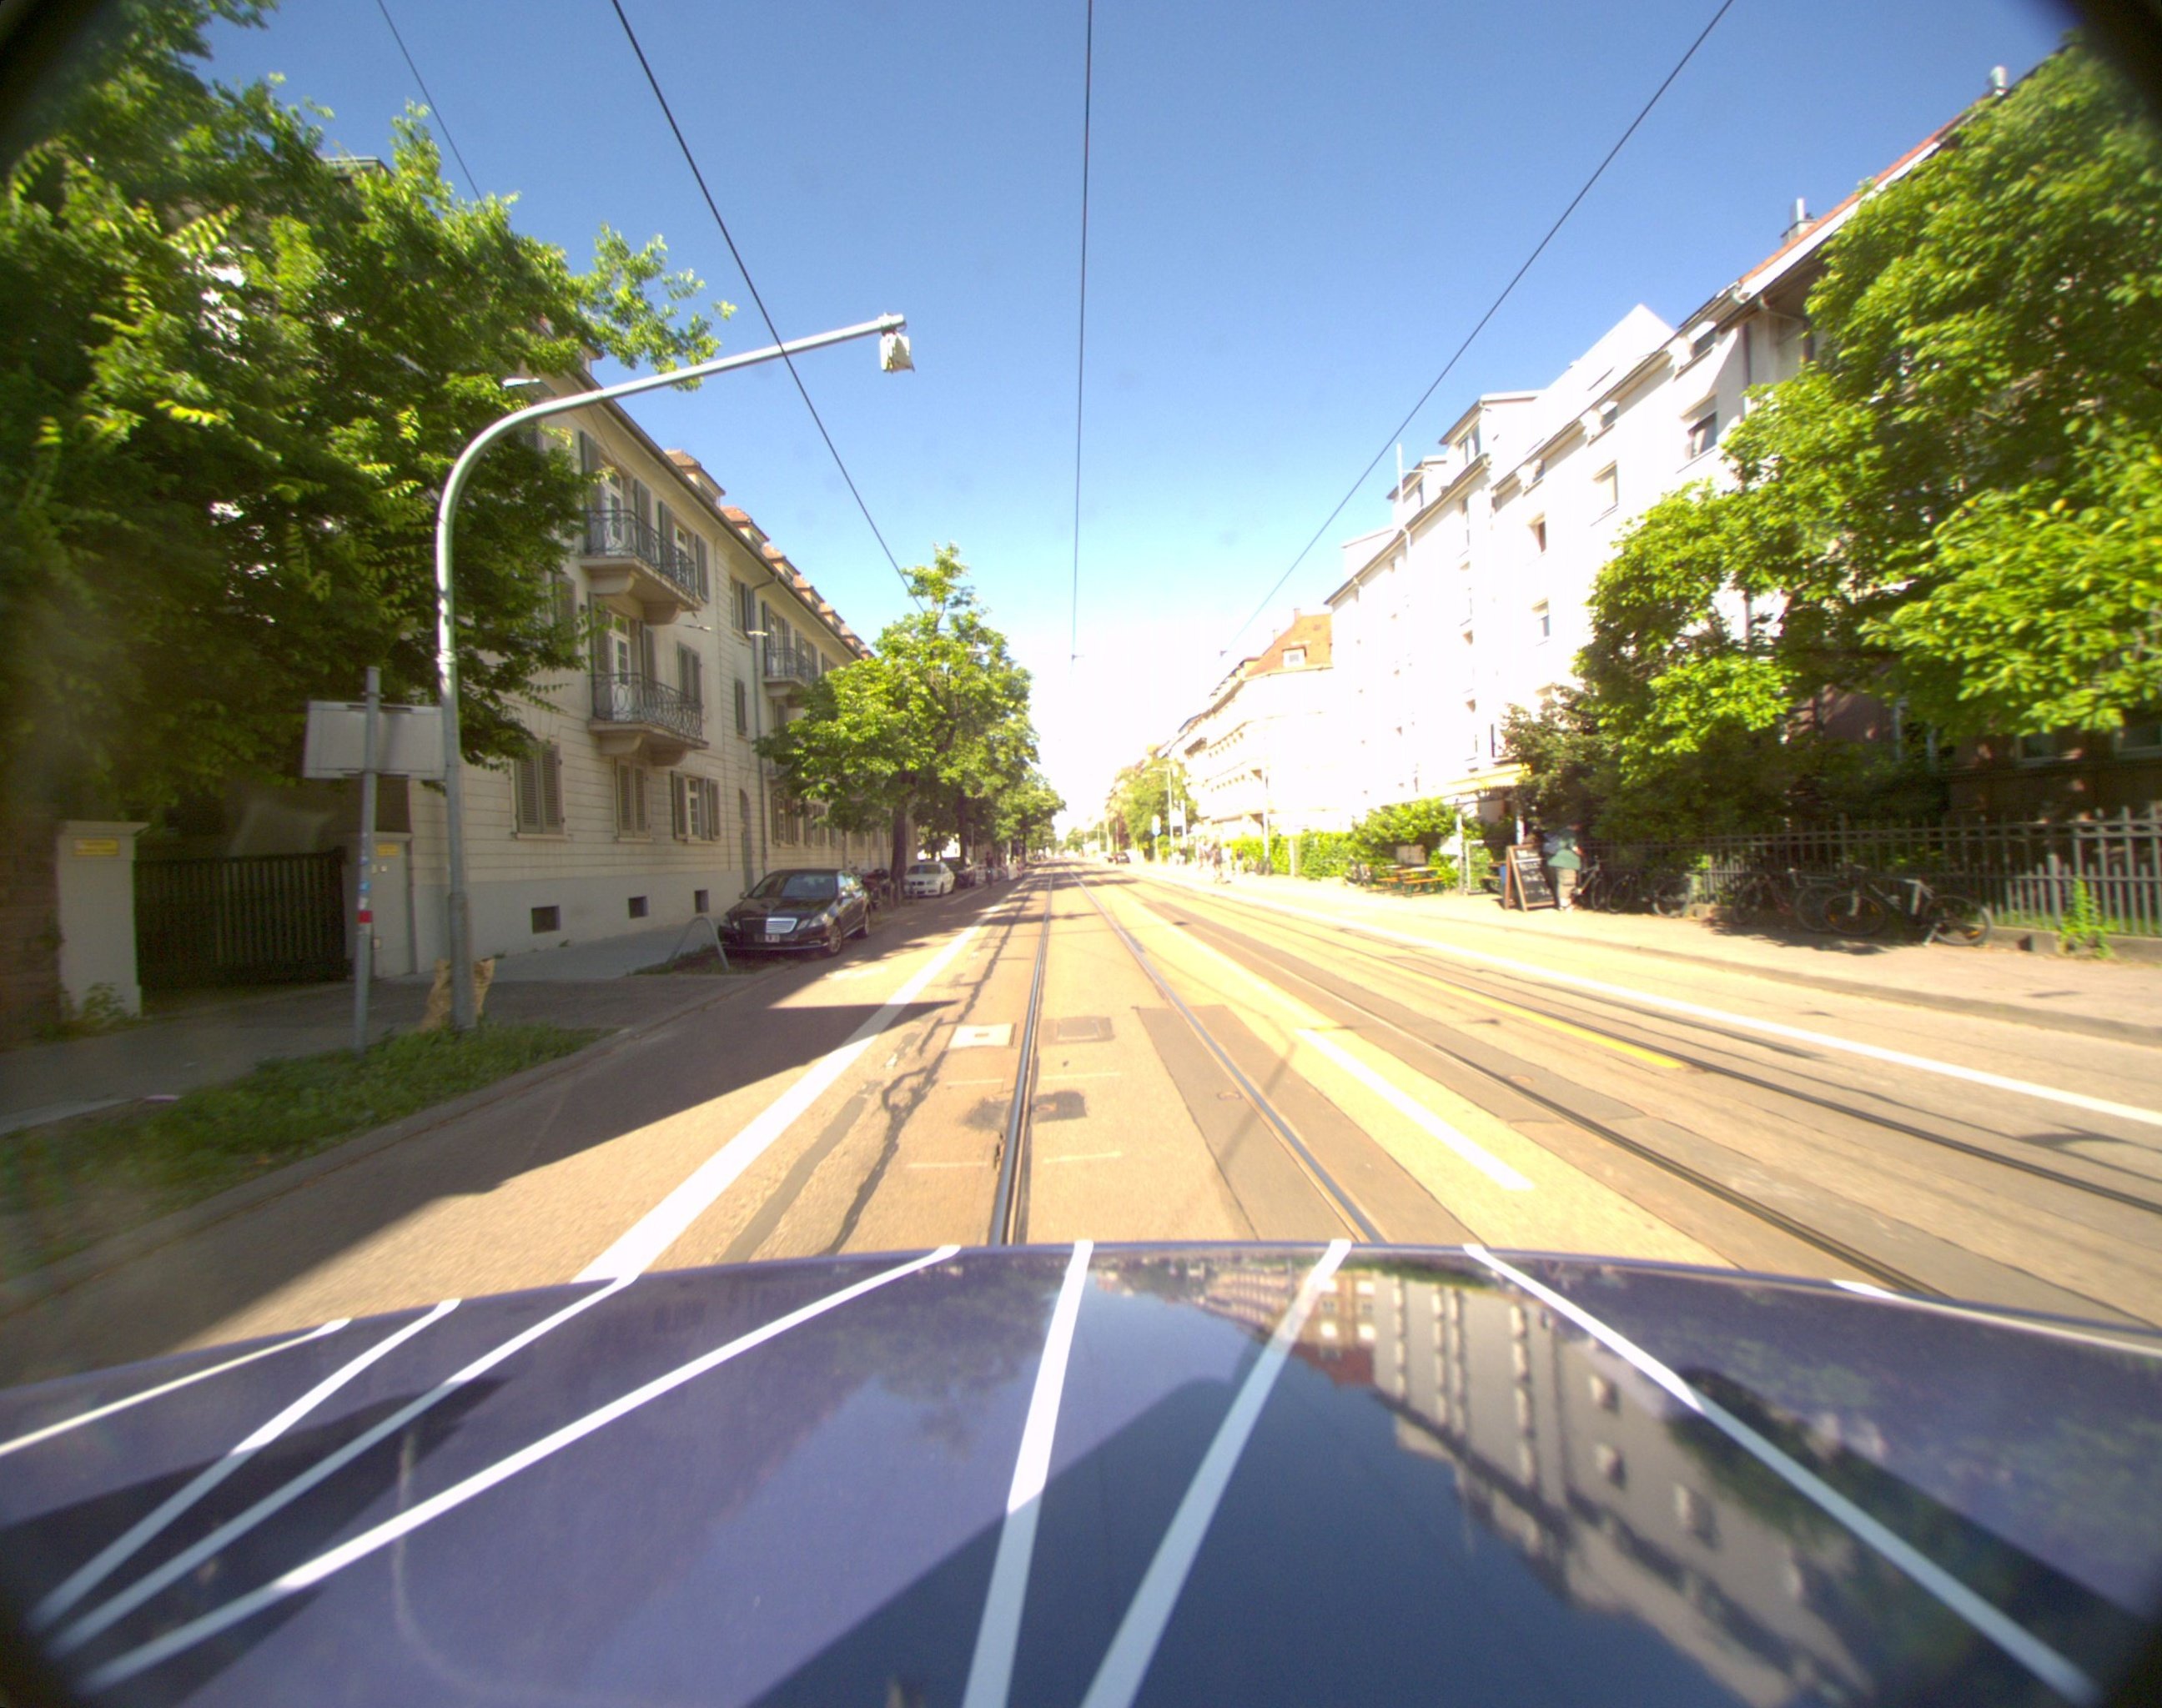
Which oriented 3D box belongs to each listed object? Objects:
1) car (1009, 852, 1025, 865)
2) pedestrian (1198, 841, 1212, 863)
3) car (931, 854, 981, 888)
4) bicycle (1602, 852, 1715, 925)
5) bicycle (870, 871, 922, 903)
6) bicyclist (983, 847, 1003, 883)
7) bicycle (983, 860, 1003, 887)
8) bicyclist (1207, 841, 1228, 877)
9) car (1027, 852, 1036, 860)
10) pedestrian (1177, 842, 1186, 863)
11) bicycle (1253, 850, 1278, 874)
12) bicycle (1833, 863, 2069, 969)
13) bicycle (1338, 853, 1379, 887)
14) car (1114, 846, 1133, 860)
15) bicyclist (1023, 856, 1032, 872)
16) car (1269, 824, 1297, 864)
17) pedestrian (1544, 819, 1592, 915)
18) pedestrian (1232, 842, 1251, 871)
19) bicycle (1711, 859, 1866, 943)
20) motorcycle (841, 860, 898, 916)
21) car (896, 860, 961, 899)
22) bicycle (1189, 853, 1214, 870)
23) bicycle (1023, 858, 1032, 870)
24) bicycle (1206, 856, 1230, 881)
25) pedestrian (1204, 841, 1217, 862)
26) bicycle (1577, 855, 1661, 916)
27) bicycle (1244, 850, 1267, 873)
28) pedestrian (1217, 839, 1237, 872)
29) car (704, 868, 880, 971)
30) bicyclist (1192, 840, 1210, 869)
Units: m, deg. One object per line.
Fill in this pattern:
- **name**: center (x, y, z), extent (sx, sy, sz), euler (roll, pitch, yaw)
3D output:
- **car**: center (-8.230, 0.559, 97.804), extent (1.706, 1.463, 4.213), euler (-1, 0, -1)
- **pedestrian**: center (9.953, -0.171, 61.109), extent (0.692, 1.758, 0.868), euler (-2, 1, 38)
- **car**: center (-6.304, 0.810, 38.776), extent (1.815, 1.616, 4.583), euler (0, 0, -1)
- **bicycle**: center (10.166, 0.561, 13.469), extent (0.647, 1.137, 1.905), euler (-5, 1, 7)
- **bicycle**: center (-6.403, 1.139, 26.356), extent (1.624, 1.037, 0.685), euler (-1, 1, -1)
- **bicyclist**: center (-4.375, 0.534, 37.772), extent (0.763, 1.728, 1.046), euler (-4, 1, -2)
- **bicycle**: center (-4.344, 0.951, 37.695), extent (0.763, 1.235, 2.095), euler (-4, 1, -2)
- **bicyclist**: center (6.168, 0.217, 34.333), extent (0.747, 1.590, 1.117), euler (0, 1, 0)
- **car**: center (-9.771, 0.326, 150.636), extent (1.762, 1.458, 4.612), euler (-1, 0, -4)
- **pedestrian**: center (8.519, -0.112, 64.464), extent (0.558, 1.771, 0.538), euler (-3, 1, -5)
- **bicycle**: center (9.214, 0.382, 38.013), extent (0.663, 1.083, 1.839), euler (-5, 1, -1)
- **bicycle**: center (10.130, 0.668, 8.976), extent (0.591, 1.039, 1.905), euler (-4, 1, 2)
- **bicycle**: center (9.428, 0.534, 25.877), extent (0.640, 1.053, 1.742), euler (-5, 1, -1)
- **car**: center (5.143, -0.151, 91.626), extent (1.869, 1.567, 4.587), euler (-1, 1, -2)
- **bicyclist**: center (-5.086, 0.919, 72.506), extent (0.776, 1.505, 1.229), euler (-3, 1, -4)
- **car**: center (15.388, -0.820, 57.741), extent (1.889, 2.825, 4.787), euler (-2, 2, 15)
- **pedestrian**: center (9.572, 0.253, 14.961), extent (0.576, 1.821, 0.690), euler (-2, 1, 17)
- **pedestrian**: center (8.689, 0.135, 41.178), extent (0.756, 1.469, 0.956), euler (-4, 1, -1)
- **bicycle**: center (10.190, 0.636, 11.048), extent (0.591, 1.039, 1.905), euler (-4, 1, 7)
- **motorcycle**: center (-6.167, 0.949, 22.296), extent (0.916, 1.480, 2.679), euler (-1, 1, 0)
- **car**: center (-6.074, 0.963, 30.724), extent (1.728, 1.374, 4.355), euler (-1, 0, 0)
- **bicycle**: center (7.901, 0.489, 49.861), extent (0.705, 1.049, 1.838), euler (-1, 3, 42)
- **bicycle**: center (-5.091, 0.919, 72.500), extent (0.776, 1.080, 2.058), euler (-3, 1, -4)
- **bicycle**: center (6.164, 0.643, 34.294), extent (0.747, 1.075, 1.898), euler (0, 1, 0)
- **pedestrian**: center (10.566, -0.196, 62.058), extent (0.705, 1.645, 0.834), euler (-1, 3, 30)
- **bicycle**: center (10.439, 0.574, 14.822), extent (0.637, 1.039, 2.024), euler (-2, 1, 15)
- **bicycle**: center (9.145, 0.361, 39.960), extent (0.663, 1.083, 1.839), euler (-5, 1, -1)
- **pedestrian**: center (7.910, 0.076, 41.185), extent (0.756, 1.704, 0.808), euler (-4, 1, -1)
- **car**: center (-5.133, 1.066, 14.271), extent (1.827, 1.450, 4.815), euler (-1, 0, -5)
- **bicyclist**: center (7.890, 0.007, 49.846), extent (0.705, 1.843, 0.987), euler (-1, 3, 42)
